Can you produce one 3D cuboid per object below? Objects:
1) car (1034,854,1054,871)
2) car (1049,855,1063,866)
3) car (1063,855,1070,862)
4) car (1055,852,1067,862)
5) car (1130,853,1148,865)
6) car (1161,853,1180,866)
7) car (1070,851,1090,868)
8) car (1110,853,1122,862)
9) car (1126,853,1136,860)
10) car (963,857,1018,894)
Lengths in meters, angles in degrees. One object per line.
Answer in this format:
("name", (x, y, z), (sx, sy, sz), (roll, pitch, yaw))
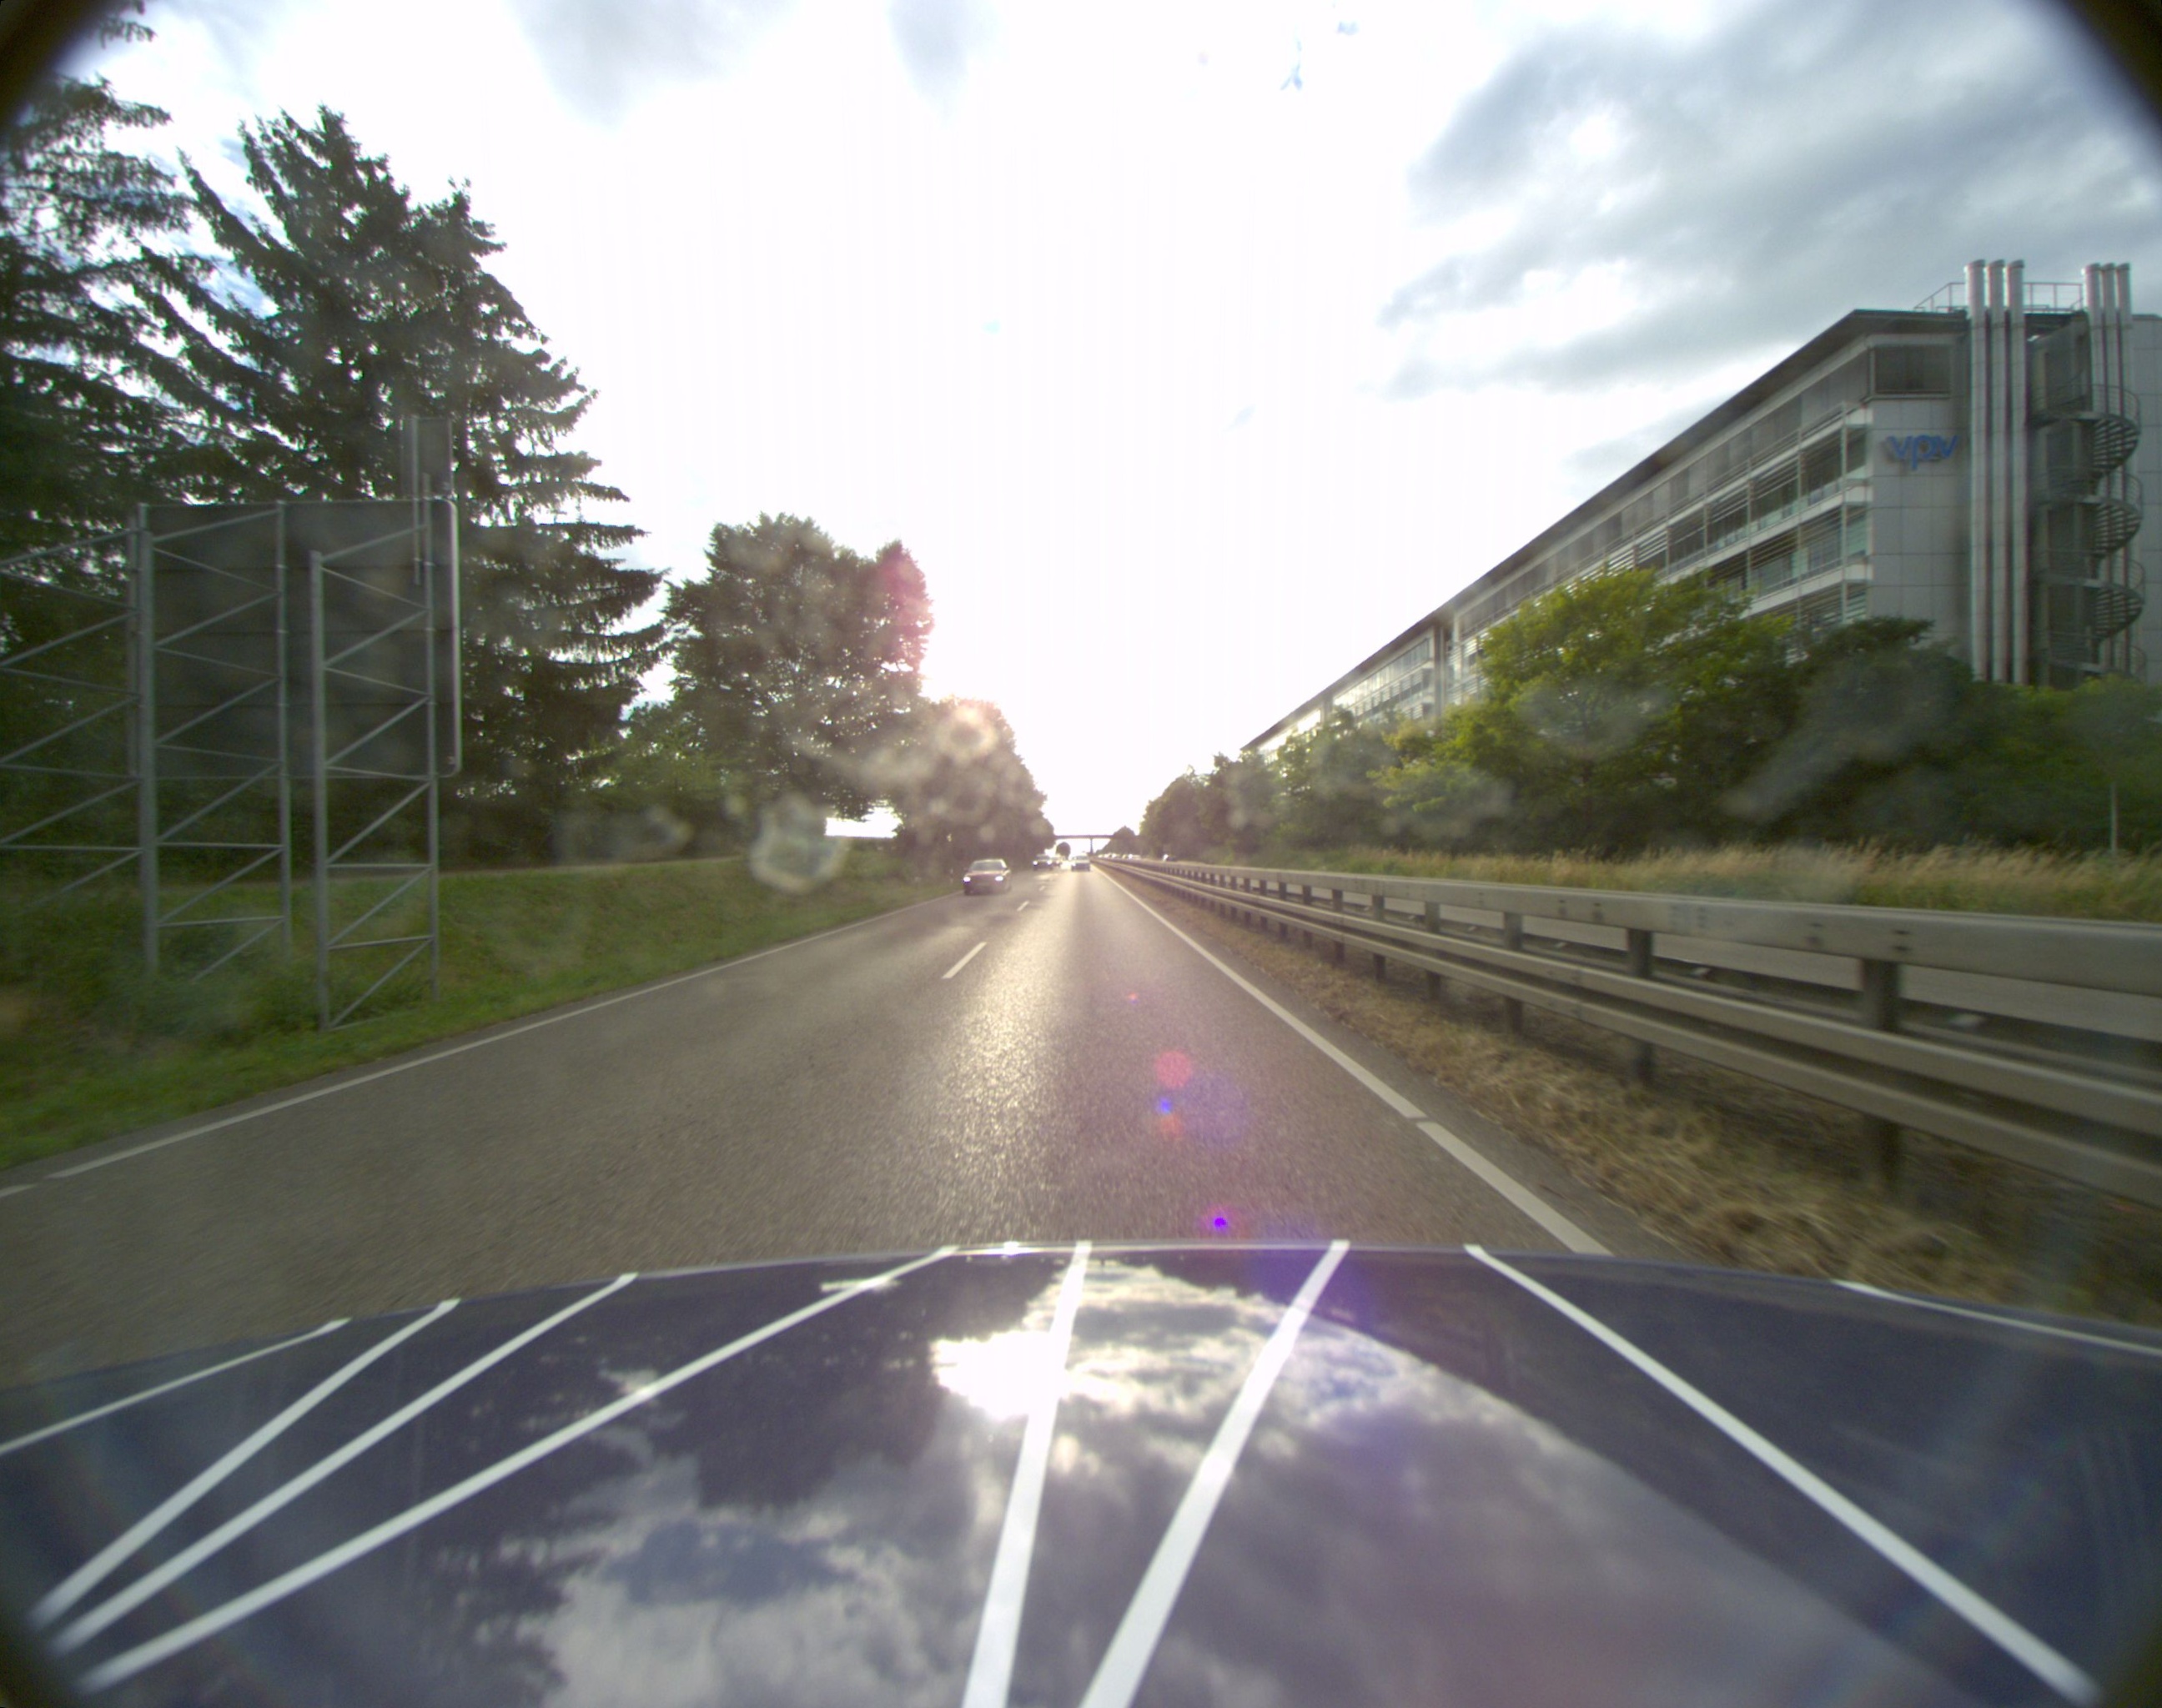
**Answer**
("car", (-3.755, 0.883, 77.858), (1.723, 1.657, 4.419), (-2, -1, 0))
("car", (-3.054, 0.815, 93.661), (1.558, 1.346, 3.407), (-1, 0, 0))
("car", (-4.561, 1.262, 234.997), (1.998, 2.002, 4.000), (-2, 0, 0))
("car", (-3.312, 0.516, 124.559), (1.723, 1.657, 4.419), (-2, -1, 0))
("car", (6.929, 0.544, 91.211), (1.839, 1.371, 4.565), (0, 0, -1))
("car", (10.403, 0.580, 88.434), (1.761, 1.414, 4.566), (-1, 0, 1))
("car", (-0.069, 0.549, 71.672), (1.723, 1.493, 4.419), (-2, -1, 1))
("car", (6.107, 0.557, 133.713), (1.747, 1.449, 4.311), (-1, 0, -1))
("car", (10.930, 0.478, 166.854), (1.822, 1.476, 4.416), (-1, 0, -1))
("car", (-3.796, 0.885, 32.413), (1.723, 1.467, 3.729), (-2, -1, 2))
